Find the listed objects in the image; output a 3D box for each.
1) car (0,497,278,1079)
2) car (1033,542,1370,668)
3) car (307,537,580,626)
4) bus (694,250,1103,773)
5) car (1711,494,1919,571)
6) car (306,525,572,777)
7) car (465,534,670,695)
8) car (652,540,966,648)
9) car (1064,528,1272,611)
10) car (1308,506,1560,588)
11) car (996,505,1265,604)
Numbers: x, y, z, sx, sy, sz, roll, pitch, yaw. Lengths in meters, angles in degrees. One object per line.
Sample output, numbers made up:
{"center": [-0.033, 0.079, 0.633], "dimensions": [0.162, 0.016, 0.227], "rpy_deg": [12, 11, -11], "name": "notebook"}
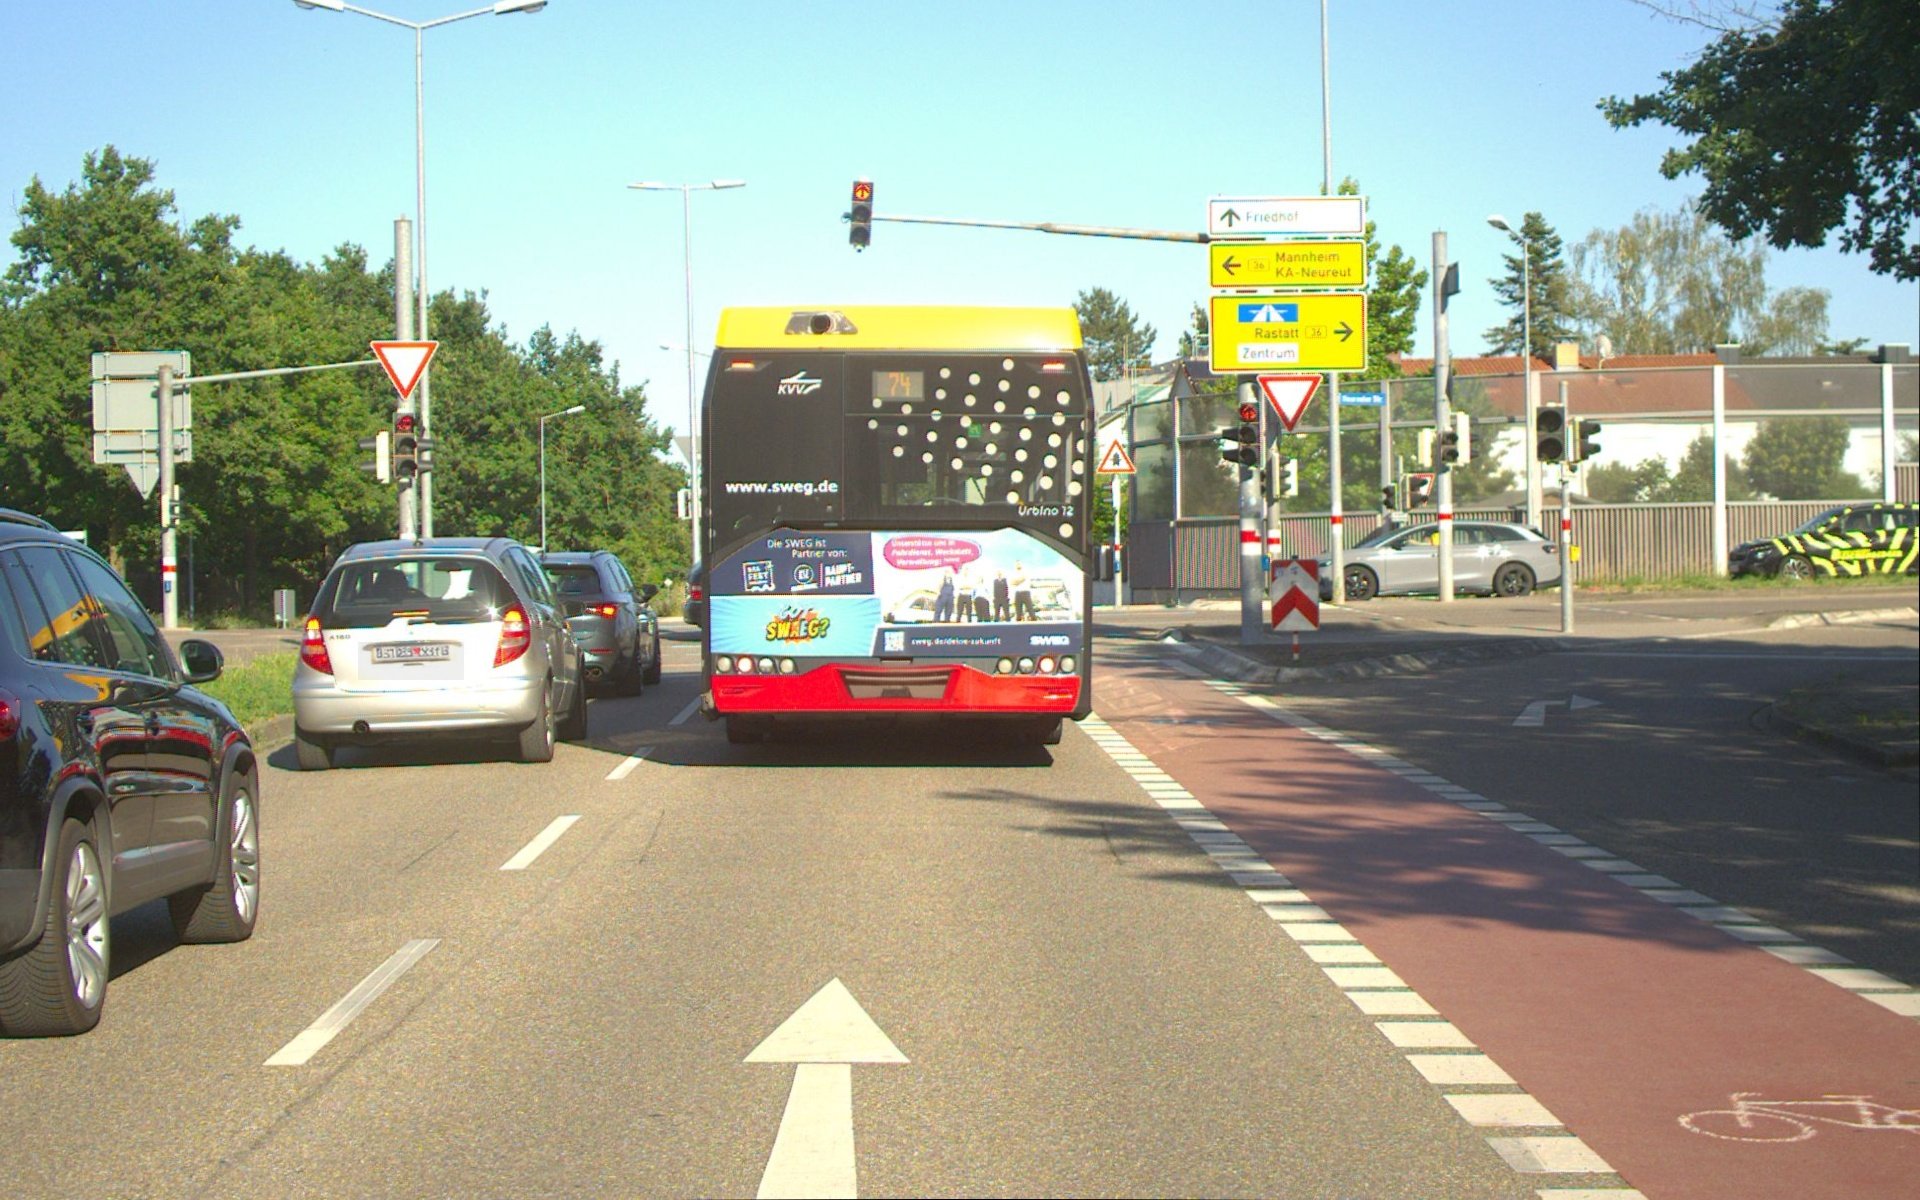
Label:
{"center": [-3.656, 0.565, 11.837], "dimensions": [1.821, 1.668, 4.003], "rpy_deg": [-2, 0, -1], "name": "car"}
{"center": [2.643, 0.047, 37.242], "dimensions": [3.523, 1.297, 1.574], "rpy_deg": [0, 2, 8], "name": "car"}
{"center": [-9.276, -0.349, 62.042], "dimensions": [4.701, 1.535, 2.000], "rpy_deg": [-1, 1, -4], "name": "car"}
{"center": [-0.455, -0.673, 27.968], "dimensions": [2.596, 3.323, 11.984], "rpy_deg": [0, 1, -1], "name": "bus"}
{"center": [15.595, -1.188, 60.956], "dimensions": [4.159, 1.298, 1.575], "rpy_deg": [0, 0, -3], "name": "car"}
{"center": [-3.747, 0.297, 25.266], "dimensions": [1.753, 1.614, 4.034], "rpy_deg": [-1, 2, -6], "name": "car"}
{"center": [-3.829, 0.123, 34.029], "dimensions": [1.588, 1.480, 3.682], "rpy_deg": [-1, 0, 0], "name": "car"}
{"center": [-2.230, -0.105, 50.017], "dimensions": [4.461, 1.436, 1.683], "rpy_deg": [-1, 1, -5], "name": "car"}
{"center": [4.205, -0.627, 69.812], "dimensions": [3.986, 1.606, 1.696], "rpy_deg": [-1, 1, -6], "name": "car"}
{"center": [8.773, -0.973, 63.815], "dimensions": [4.413, 1.454, 1.575], "rpy_deg": [0, 0, -3], "name": "car"}
{"center": [2.777, -0.736, 56.557], "dimensions": [4.220, 1.557, 1.763], "rpy_deg": [0, 0, -5], "name": "car"}
